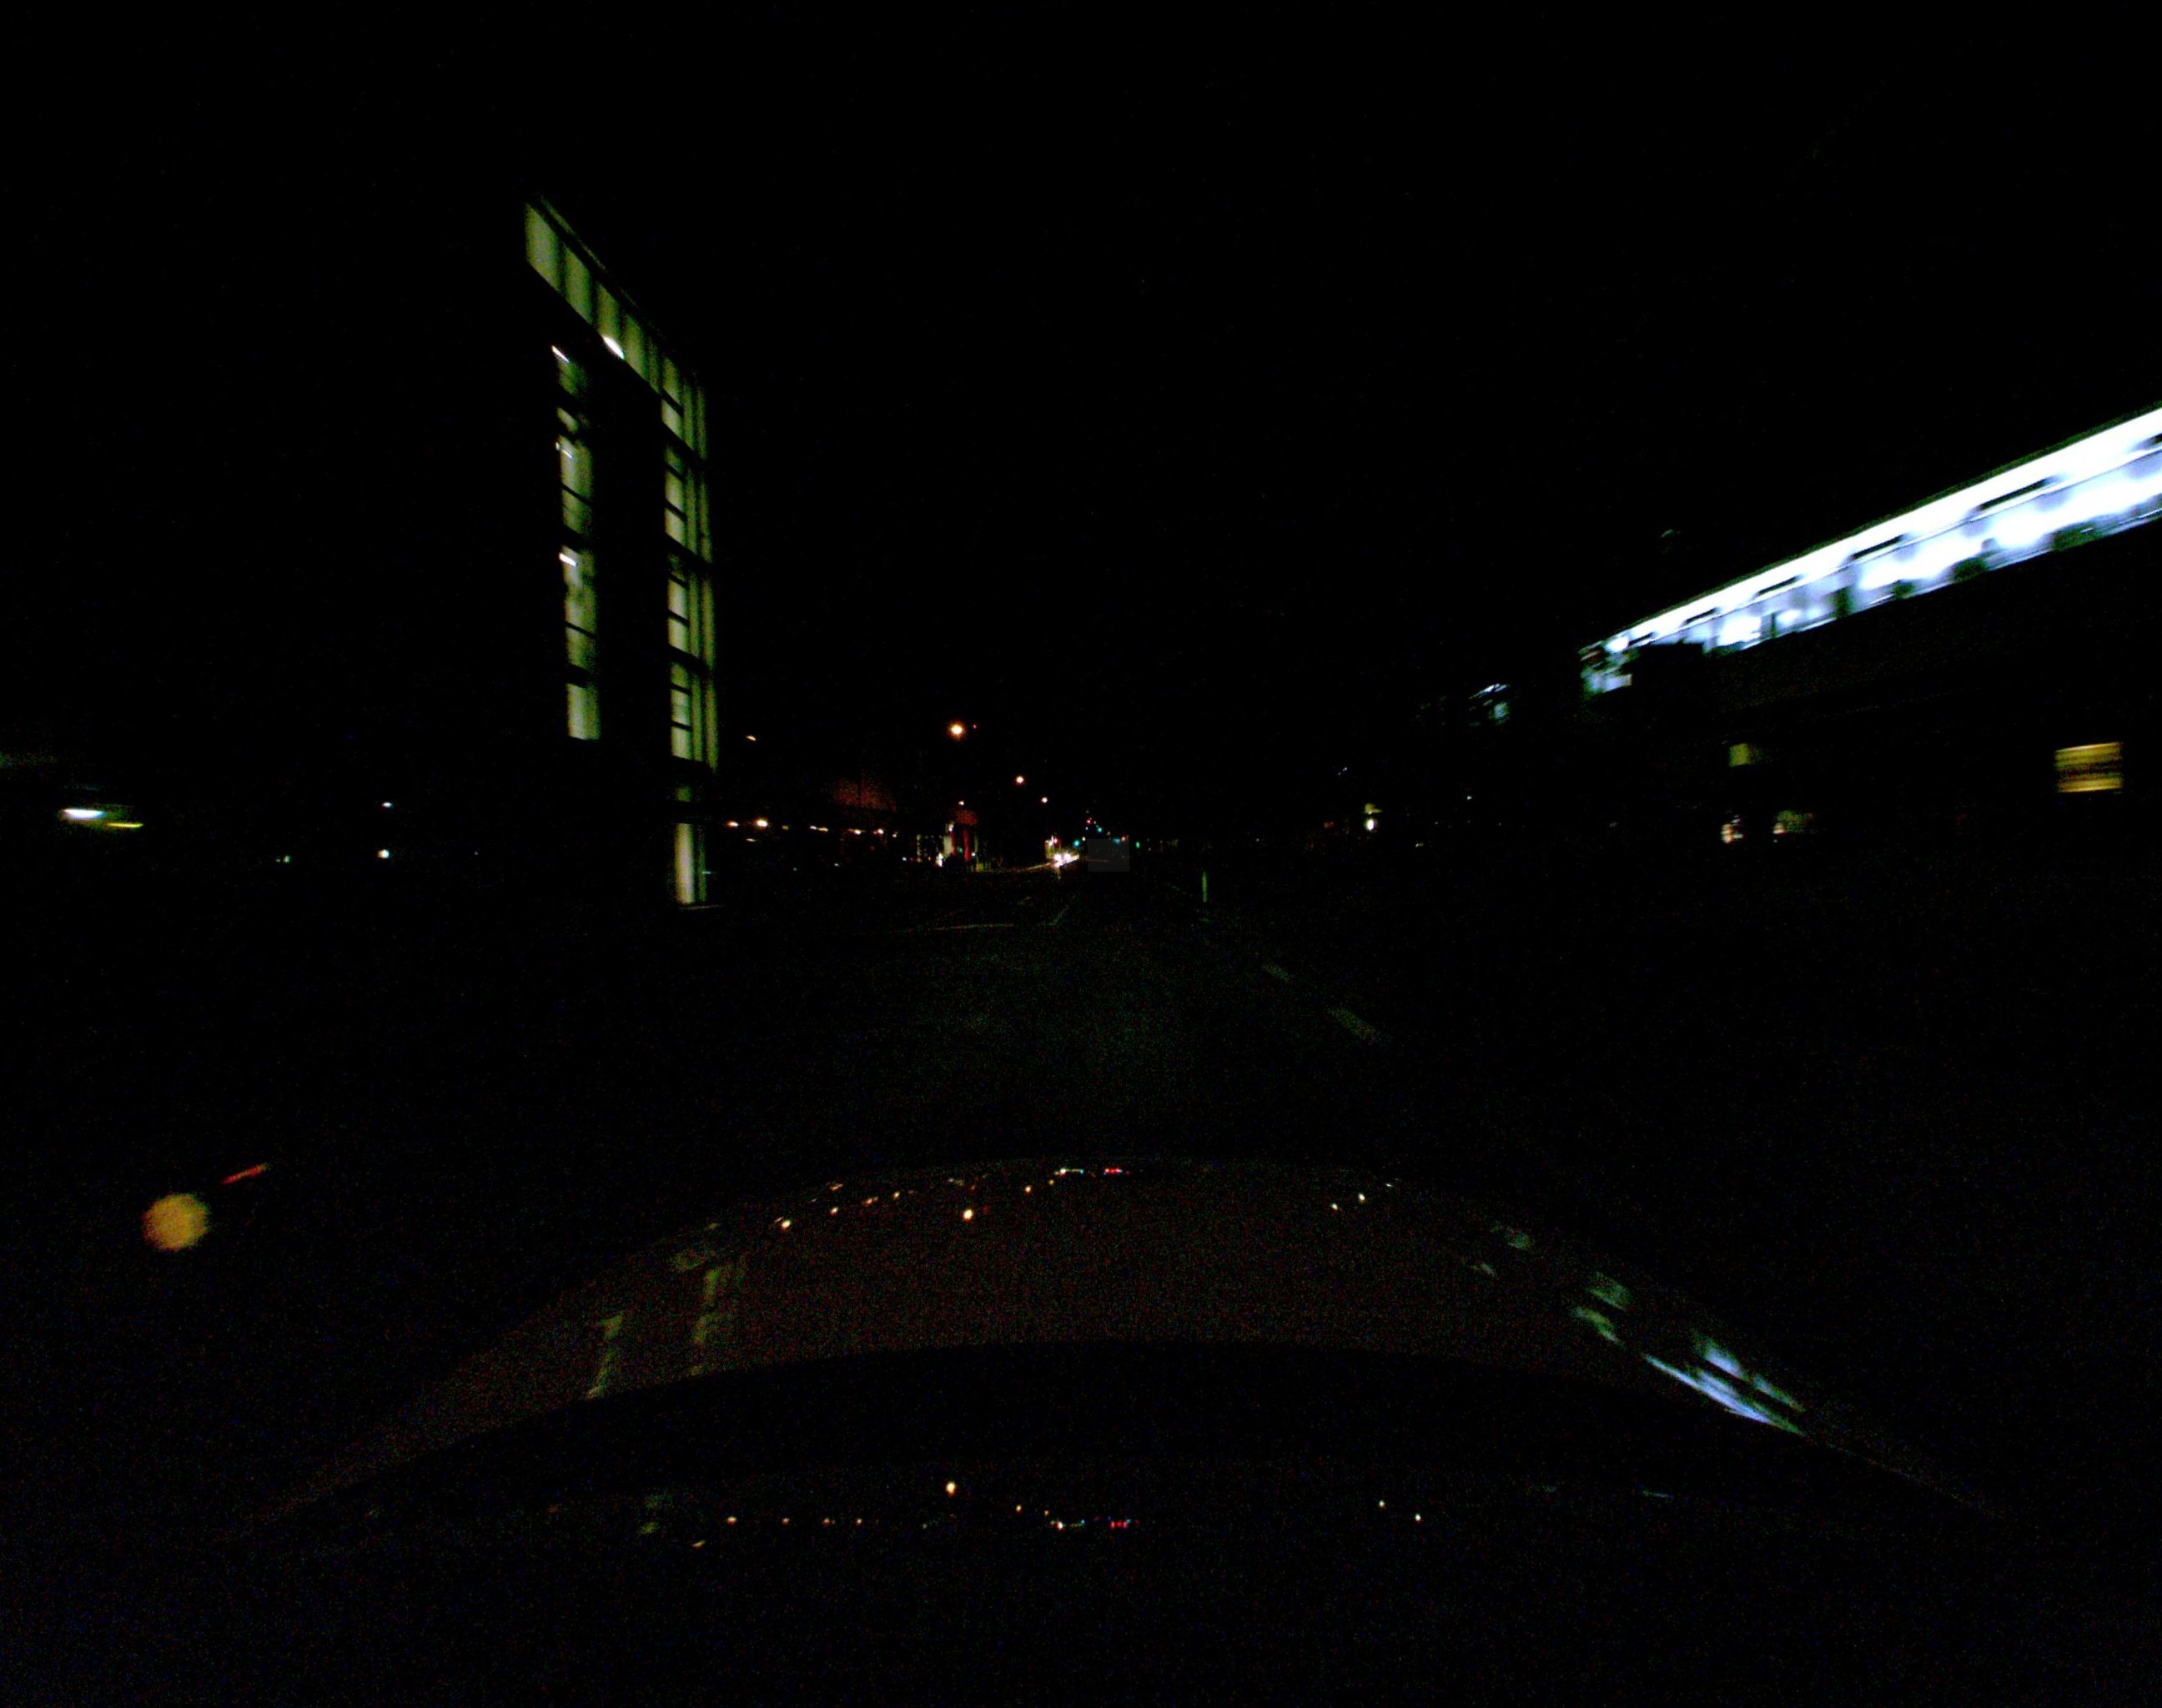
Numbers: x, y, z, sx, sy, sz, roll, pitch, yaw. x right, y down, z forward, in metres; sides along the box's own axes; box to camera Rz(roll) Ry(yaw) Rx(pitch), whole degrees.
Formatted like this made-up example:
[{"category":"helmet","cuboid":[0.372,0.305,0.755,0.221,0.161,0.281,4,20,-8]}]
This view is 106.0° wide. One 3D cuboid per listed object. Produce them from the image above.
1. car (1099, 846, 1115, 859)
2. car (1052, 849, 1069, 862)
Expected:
[{"category":"car","cuboid":[3.409,-0.209,108.430,1.986,1.643,4.002,-3,0,1]},{"category":"car","cuboid":[-2.756,0.157,111.195,1.987,1.643,4.000,-3,0,1]}]
